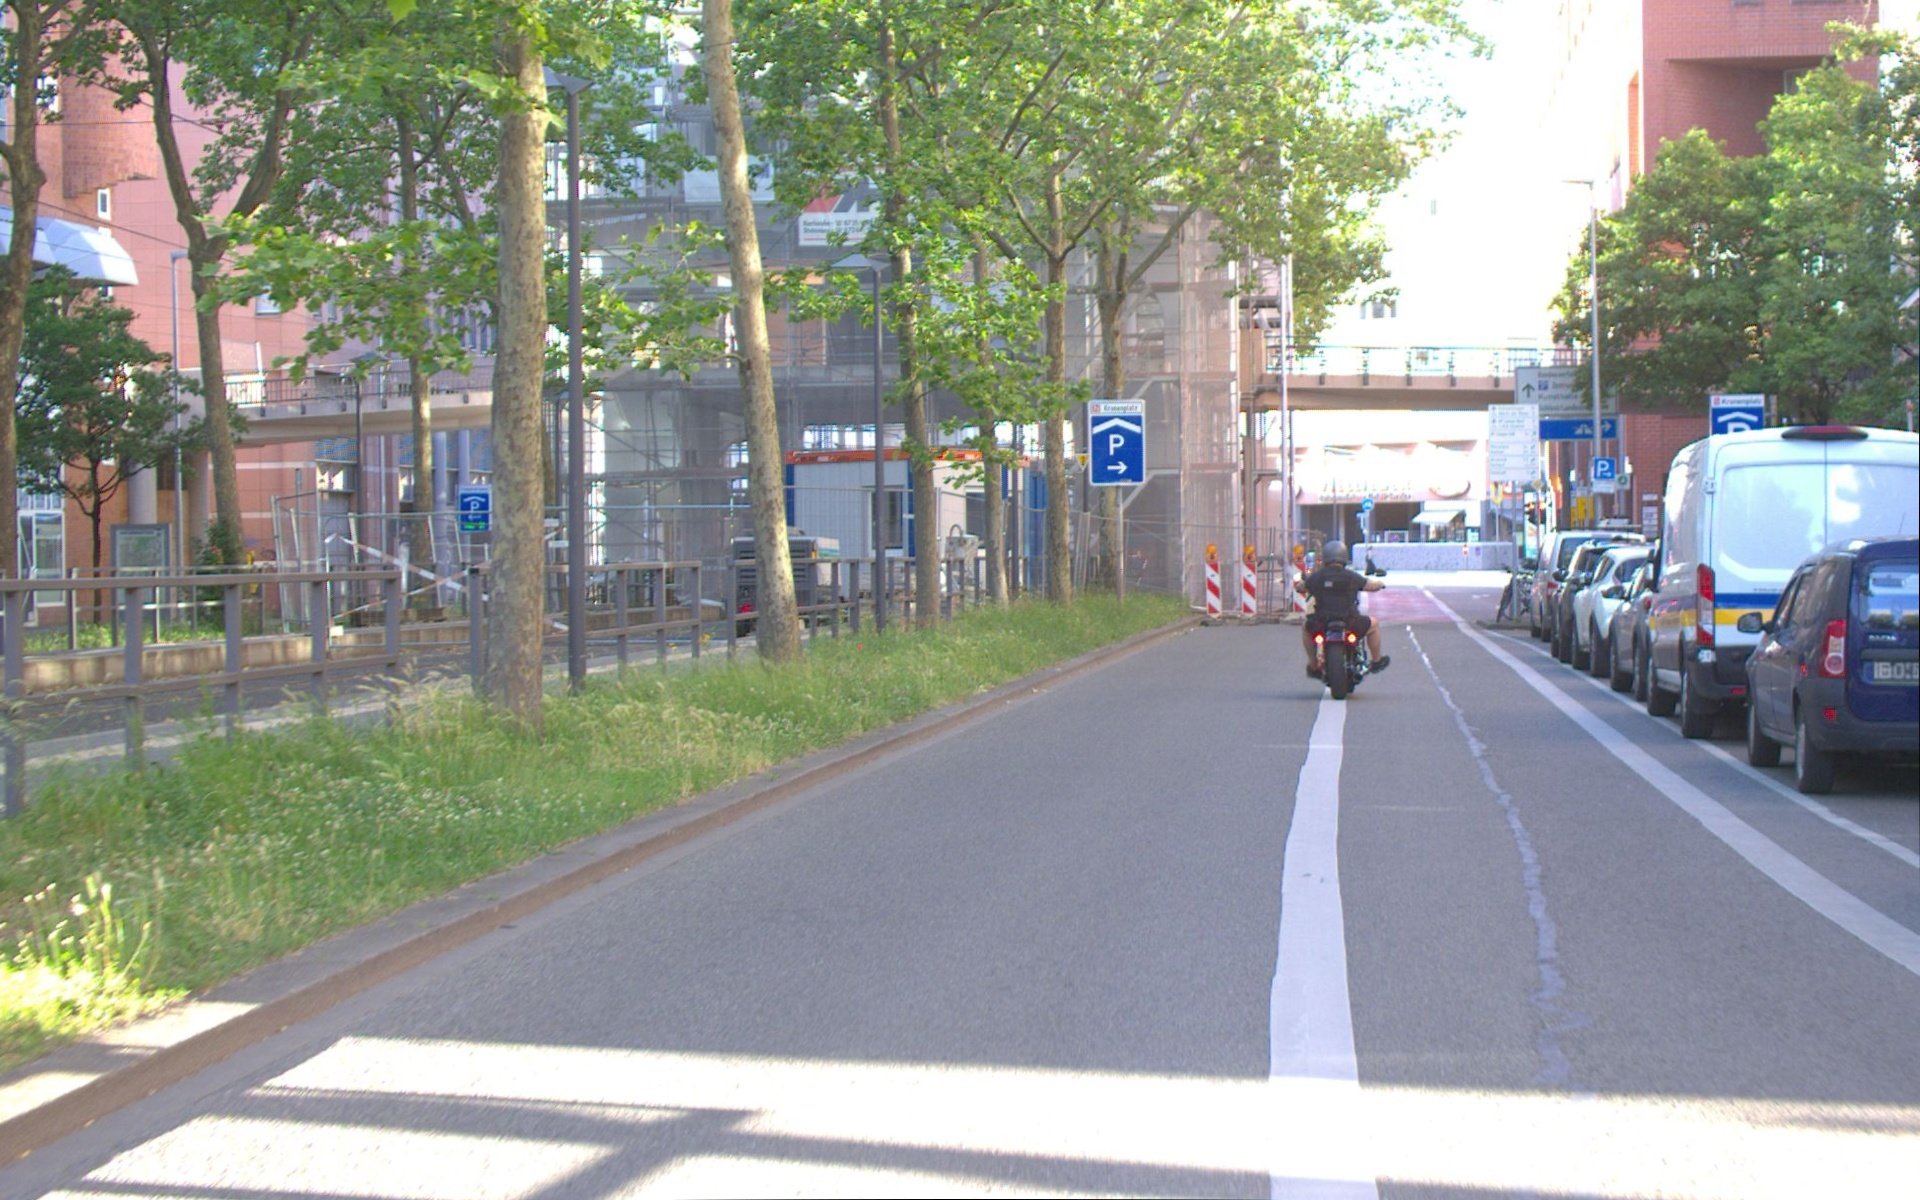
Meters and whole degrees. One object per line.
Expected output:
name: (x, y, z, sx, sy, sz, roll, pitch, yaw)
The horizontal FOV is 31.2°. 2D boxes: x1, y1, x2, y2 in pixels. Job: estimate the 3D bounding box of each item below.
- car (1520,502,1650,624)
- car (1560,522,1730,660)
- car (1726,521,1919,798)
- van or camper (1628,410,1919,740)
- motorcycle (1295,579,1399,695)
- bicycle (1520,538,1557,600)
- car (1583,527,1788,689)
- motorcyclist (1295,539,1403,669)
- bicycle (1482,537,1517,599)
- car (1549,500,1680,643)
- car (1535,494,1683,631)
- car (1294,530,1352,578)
car: (10.663, -0.673, 58.894, 1.836, 2.007, 4.387, 0, 1, 6)
car: (8.425, -0.148, 42.528, 1.620, 1.604, 3.774, 0, 1, 4)
car: (6.102, 0.302, 22.453, 1.620, 1.614, 4.484, 0, 1, 6)
van or camper: (6.989, -0.269, 29.317, 2.049, 2.532, 5.772, 0, 1, 6)
motorcycle: (3.929, 0.356, 34.808, 1.018, 1.093, 2.007, 0, 2, 7)
bicycle: (11.838, -0.653, 70.392, 0.664, 1.230, 2.227, 0, 1, 7)
car: (7.586, 0.041, 36.224, 1.620, 1.597, 3.774, 0, 1, 4)
motorcyclist: (3.949, 0.027, 34.837, 1.012, 1.258, 0.774, 2, 2, 9)
bicycle: (11.061, -0.663, 70.522, 0.664, 1.230, 2.227, 0, 1, 7)
car: (8.898, -0.422, 46.928, 1.621, 1.859, 3.773, 0, 1, 9)
car: (9.905, -0.611, 52.714, 1.836, 2.007, 4.387, 0, 1, 6)
car: (13.245, -1.691, 125.556, 1.852, 1.711, 4.000, 0, 1, 3)
